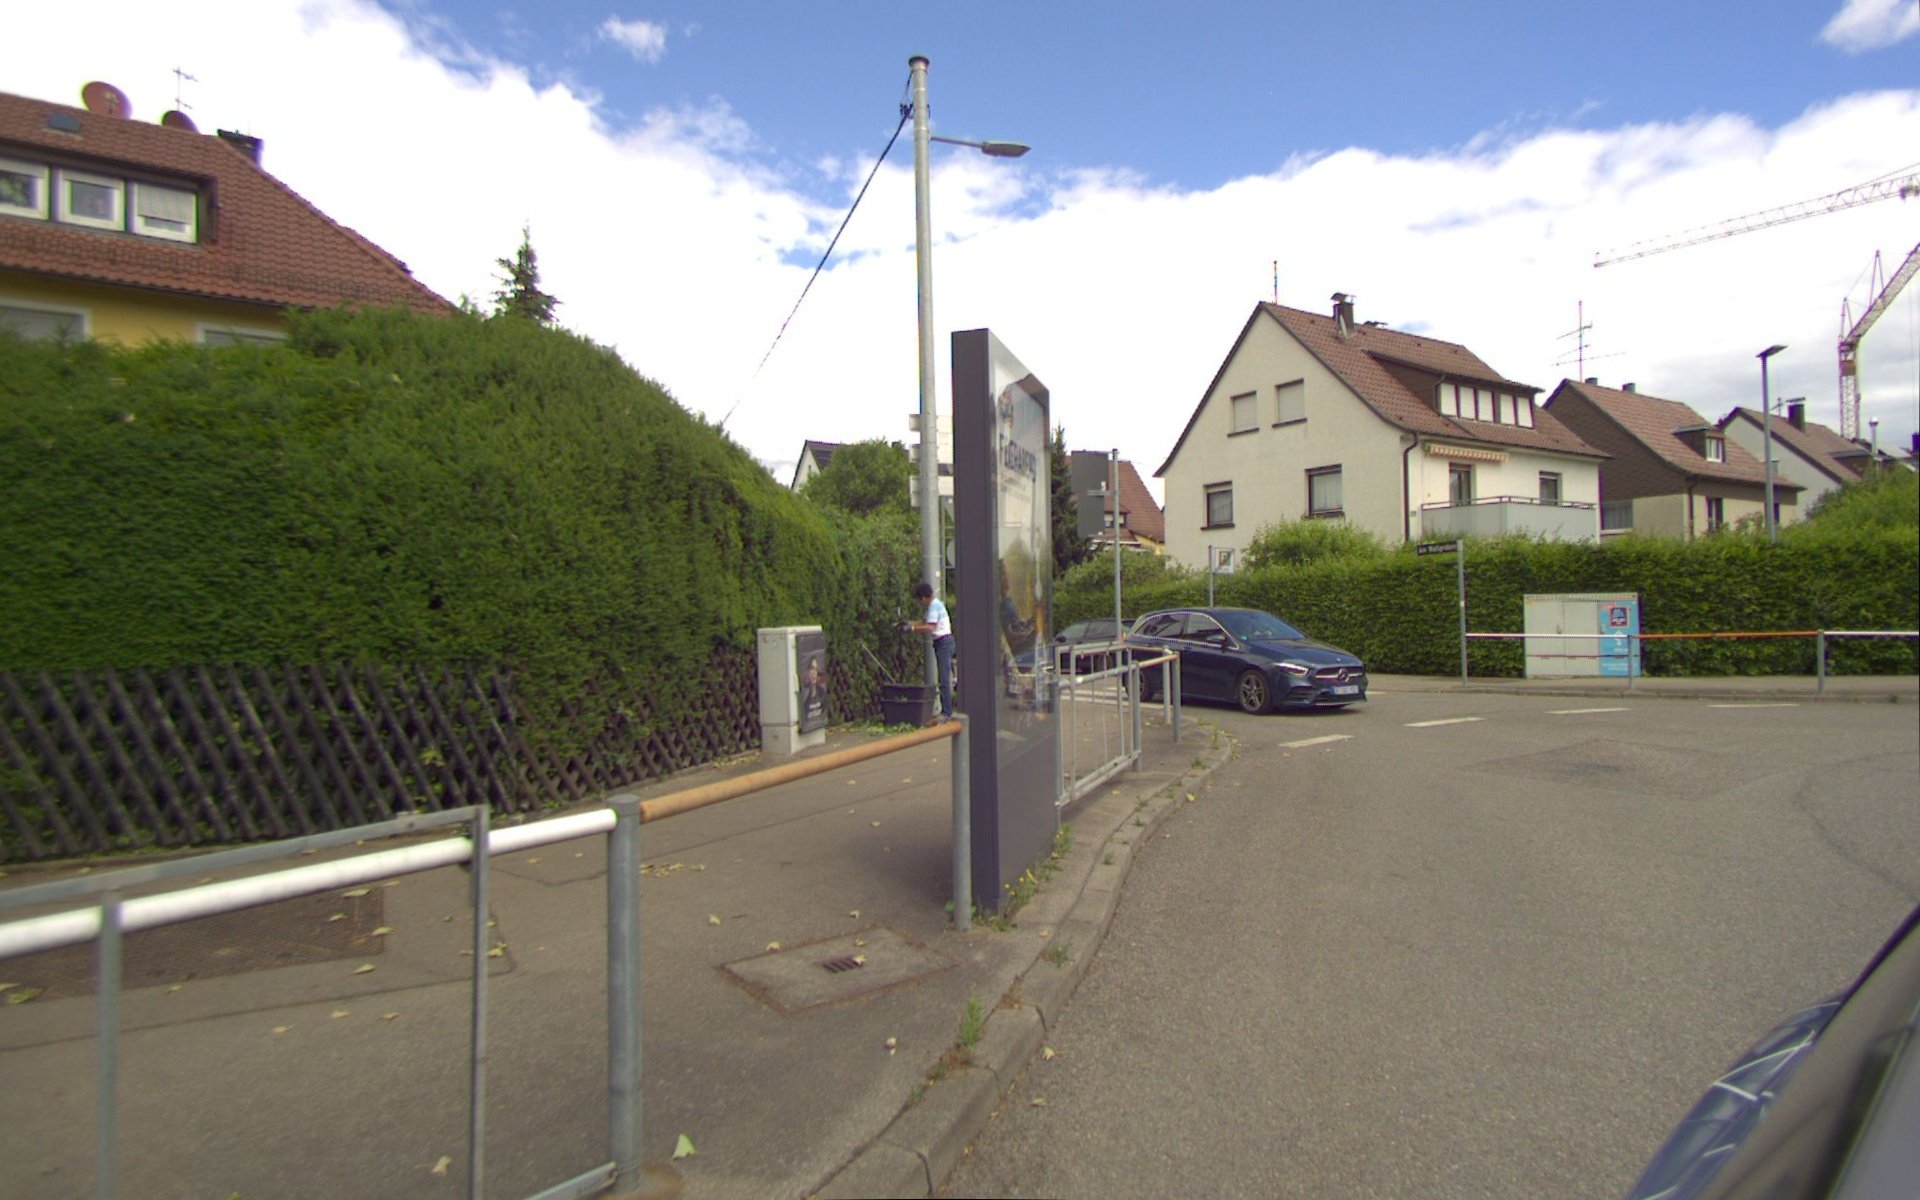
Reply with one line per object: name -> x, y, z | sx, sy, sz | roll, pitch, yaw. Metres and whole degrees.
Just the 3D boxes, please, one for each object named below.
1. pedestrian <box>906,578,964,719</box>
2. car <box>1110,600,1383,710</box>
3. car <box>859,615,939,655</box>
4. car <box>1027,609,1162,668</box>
pedestrian -> -0.300, 0.577, 12.356 | 0.585, 1.677, 0.652 | -1, -1, 11
car -> 4.259, 0.762, 15.806 | 1.551, 1.467, 4.326 | 0, -1, -27
car -> -2.293, 1.250, 37.198 | 1.538, 1.384, 3.442 | 0, -1, -31
car -> 3.583, 1.045, 27.532 | 1.675, 1.473, 3.617 | 0, -2, -33
